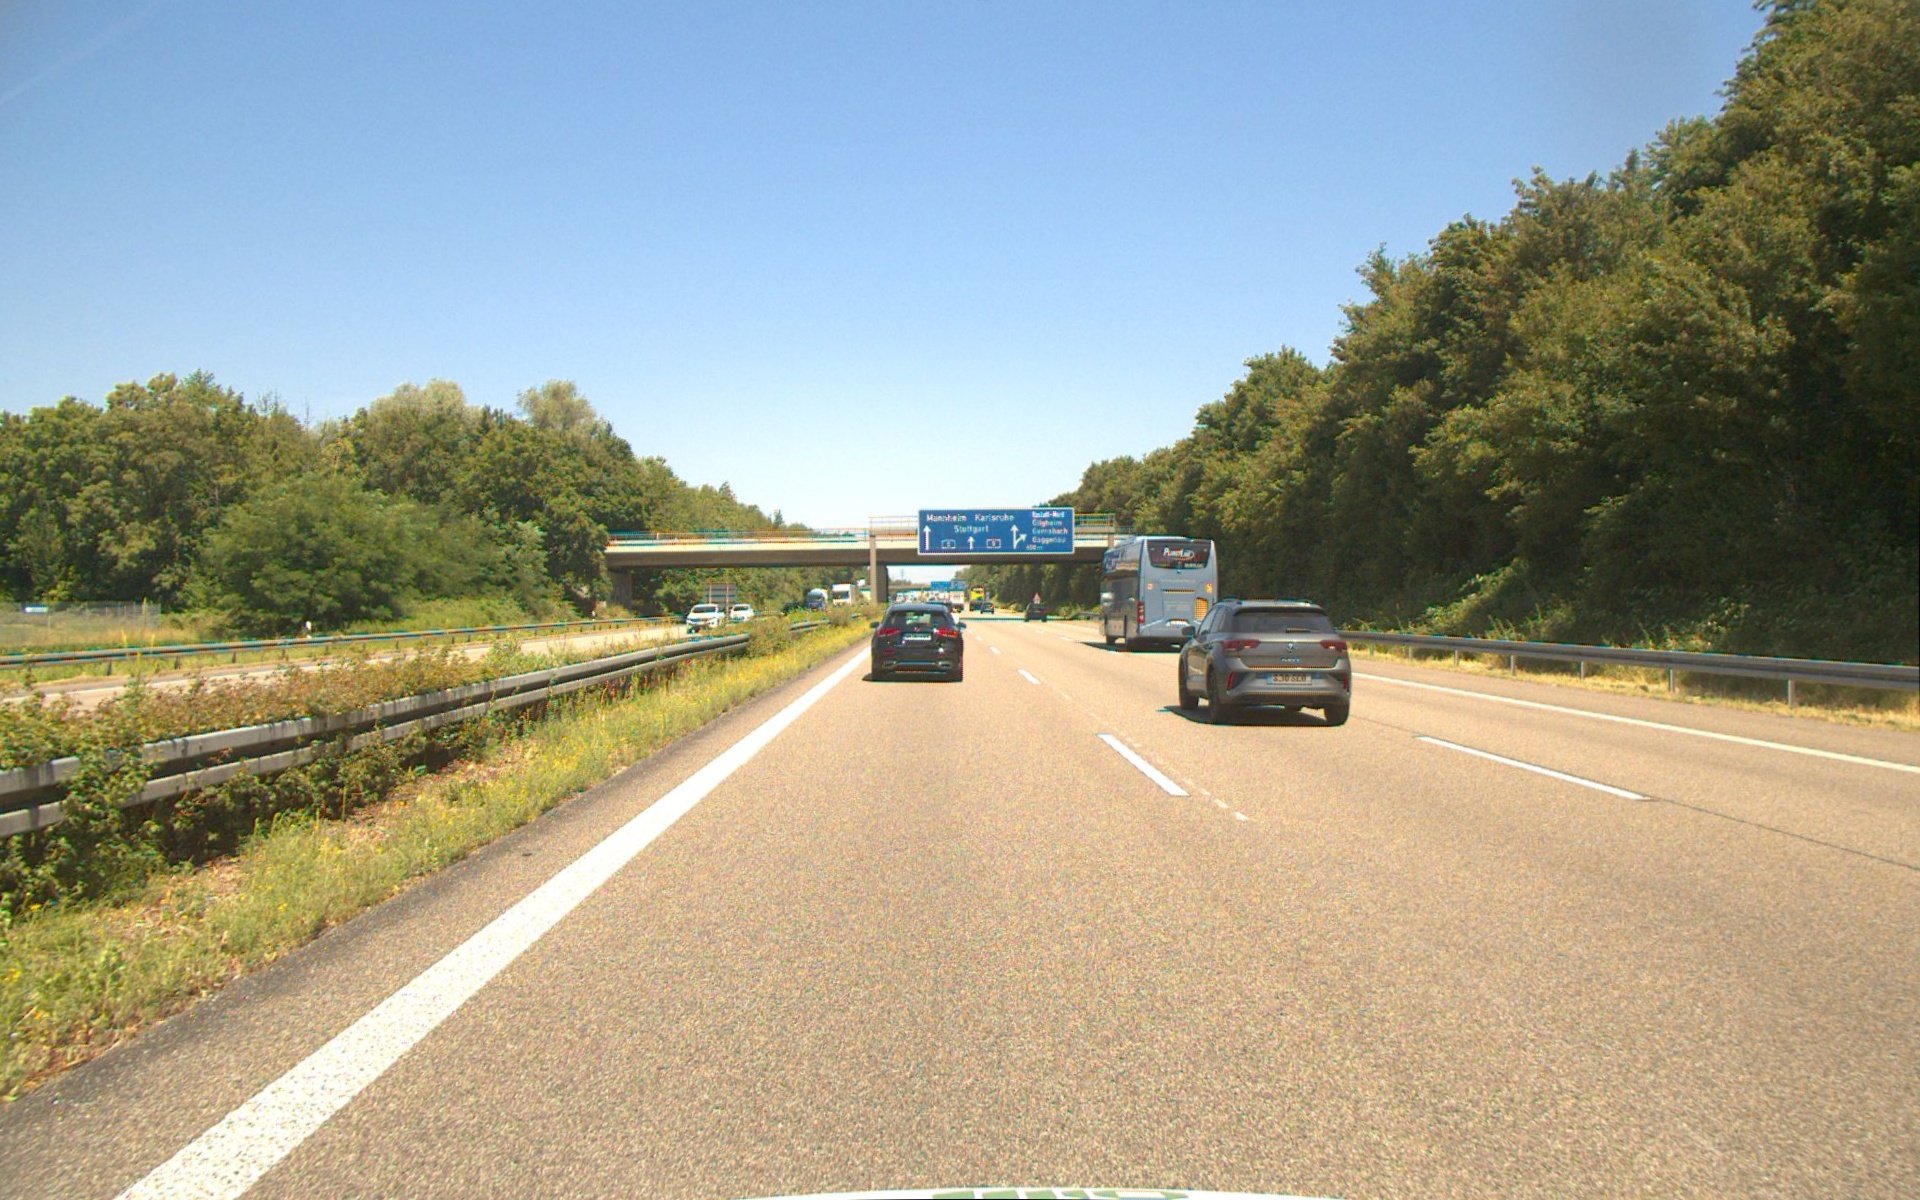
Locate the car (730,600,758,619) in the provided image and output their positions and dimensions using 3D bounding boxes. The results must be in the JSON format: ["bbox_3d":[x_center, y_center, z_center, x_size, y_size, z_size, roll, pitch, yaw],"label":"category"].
[{"bbox_3d":[-18.773,0.823,143.905,1.861,1.621,4.741,-2,0,-2],"label":"car"}]

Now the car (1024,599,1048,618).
[{"bbox_3d":[6.087,0.692,133.257,1.753,1.487,3.949,0,0,0],"label":"car"}]

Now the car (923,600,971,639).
[{"bbox_3d":[-0.579,0.770,68.491,1.861,1.559,4.240,0,0,-2],"label":"car"}]

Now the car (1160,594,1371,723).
[{"bbox_3d":[4.020,0.715,22.560,1.861,1.559,4.758,0,0,-2],"label":"car"}]

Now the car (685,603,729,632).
[{"bbox_3d":[-14.218,0.973,93.121,1.771,1.509,4.416,-3,0,-1],"label":"car"}]

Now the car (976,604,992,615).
[{"bbox_3d":[3.305,1.310,227.887,2.038,1.559,4.241,0,0,0],"label":"car"}]

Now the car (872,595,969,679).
[{"bbox_3d":[-0.784,0.677,32.431,1.763,1.528,4.240,0,0,-2],"label":"car"}]

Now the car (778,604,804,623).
[{"bbox_3d":[-15.337,1.176,150.248,1.861,1.559,5.030,-4,0,-2],"label":"car"}]

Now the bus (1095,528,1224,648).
[{"bbox_3d":[6.618,-0.340,56.800,2.745,3.659,12.472,0,0,-1],"label":"bus"}]

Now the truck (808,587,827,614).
[{"bbox_3d":[-21.071,0.029,245.207,2.312,3.841,5.250,-2,0,-1],"label":"truck"}]
